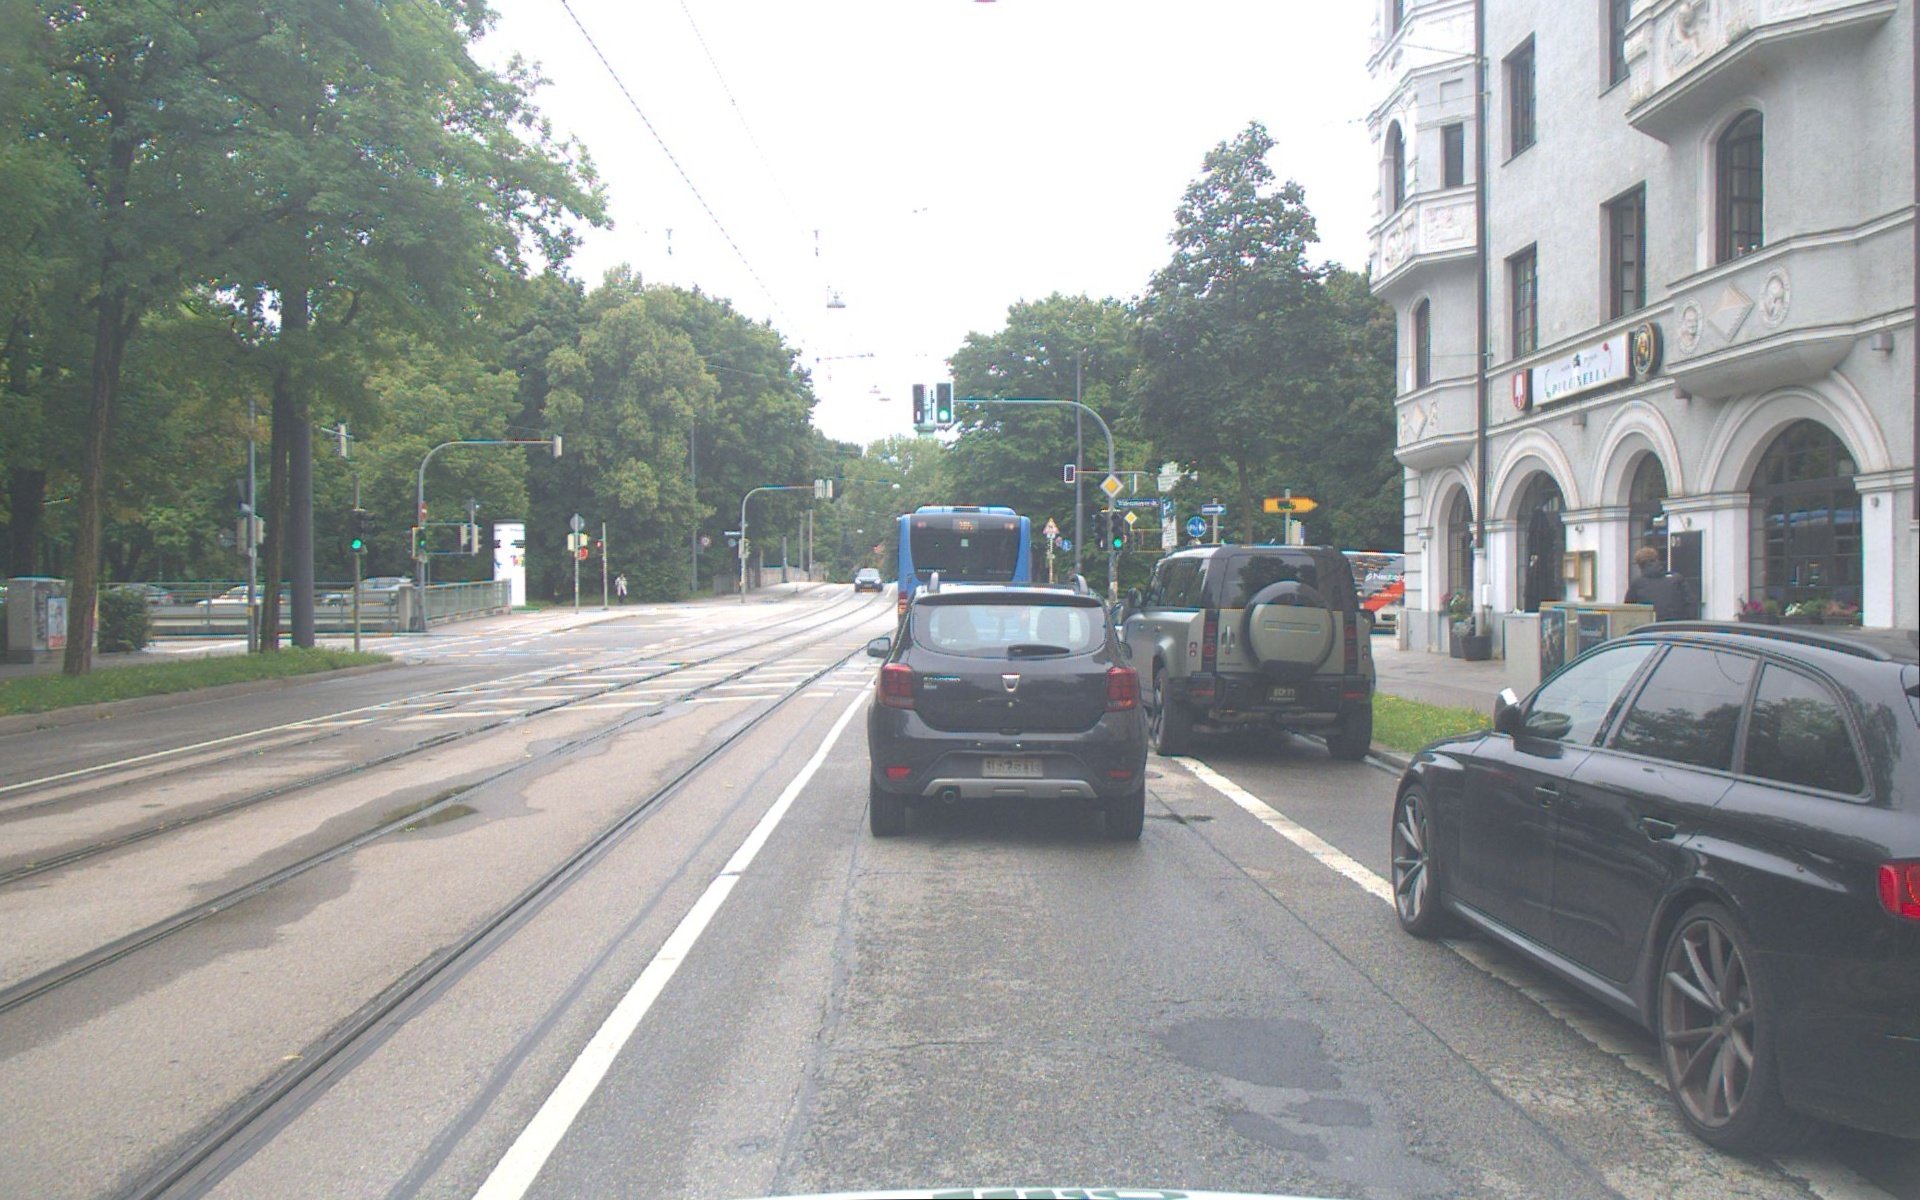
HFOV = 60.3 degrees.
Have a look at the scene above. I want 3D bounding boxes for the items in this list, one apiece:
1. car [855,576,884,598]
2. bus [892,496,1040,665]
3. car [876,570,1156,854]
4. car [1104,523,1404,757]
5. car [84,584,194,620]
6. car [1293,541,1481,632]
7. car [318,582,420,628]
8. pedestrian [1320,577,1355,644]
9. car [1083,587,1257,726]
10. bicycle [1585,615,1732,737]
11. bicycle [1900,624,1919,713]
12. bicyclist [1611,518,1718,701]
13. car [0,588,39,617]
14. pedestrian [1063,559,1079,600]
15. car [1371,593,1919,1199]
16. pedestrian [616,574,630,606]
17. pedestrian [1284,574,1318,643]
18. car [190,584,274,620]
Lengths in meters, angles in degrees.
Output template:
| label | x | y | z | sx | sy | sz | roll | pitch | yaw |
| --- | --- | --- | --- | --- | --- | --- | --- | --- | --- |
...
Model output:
| label | x | y | z | sx | sy | sz | roll | pitch | yaw |
| --- | --- | --- | --- | --- | --- | --- | --- | --- | --- |
| car | -5.872 | -0.838 | 107.496 | 1.752 | 1.394 | 3.399 | 1 | 0 | -2 |
| bus | -0.027 | -0.364 | 33.835 | 2.625 | 3.050 | 6.957 | 1 | 0 | -3 |
| car | 0.282 | 0.637 | 11.200 | 1.568 | 1.584 | 3.524 | 1 | 0 | -1 |
| car | 2.710 | 0.337 | 16.448 | 1.876 | 1.939 | 4.805 | 1 | 0 | -3 |
| car | -35.617 | 0.080 | 71.824 | 3.848 | 1.429 | 1.719 | 1 | 0 | -5 |
| car | 13.254 | -0.403 | 51.527 | 5.191 | 2.658 | 2.229 | 1 | 0 | -4 |
| car | -25.985 | 0.222 | 72.824 | 3.946 | 1.920 | 1.488 | 1 | 0 | -8 |
| pedestrian | 10.073 | 0.286 | 44.148 | 0.690 | 1.762 | 0.842 | 1 | 0 | -1 |
| car | 2.667 | 0.677 | 21.922 | 1.679 | 1.619 | 4.326 | 1 | 0 | -1 |
| bicycle | 6.935 | 0.725 | 16.518 | 0.567 | 1.097 | 1.911 | -2 | 0 | -2 |
| bicycle | 10.456 | 0.745 | 17.717 | 0.254 | 0.947 | 0.886 | 1 | 0 | 0 |
| bicyclist | 6.961 | 0.090 | 16.367 | 0.709 | 1.759 | 0.726 | 1 | 0 | -2 |
| car | -41.929 | 0.065 | 71.313 | 3.656 | 1.206 | 1.249 | 1 | 0 | -6 |
| pedestrian | 5.855 | -1.102 | 87.280 | 0.747 | 2.153 | 0.853 | -1 | 0 | -1 |
| car | 2.911 | 0.726 | 5.797 | 1.681 | 1.451 | 4.601 | 1 | 0 | -1 |
| pedestrian | -16.272 | -0.465 | 79.900 | 0.520 | 1.527 | 0.588 | 1 | 0 | 4 |
| pedestrian | 9.257 | 0.226 | 44.871 | 0.690 | 1.848 | 0.869 | 1 | 0 | -1 |
| car | -31.735 | 0.096 | 72.122 | 3.050 | 1.477 | 1.249 | 1 | 0 | -6 |
